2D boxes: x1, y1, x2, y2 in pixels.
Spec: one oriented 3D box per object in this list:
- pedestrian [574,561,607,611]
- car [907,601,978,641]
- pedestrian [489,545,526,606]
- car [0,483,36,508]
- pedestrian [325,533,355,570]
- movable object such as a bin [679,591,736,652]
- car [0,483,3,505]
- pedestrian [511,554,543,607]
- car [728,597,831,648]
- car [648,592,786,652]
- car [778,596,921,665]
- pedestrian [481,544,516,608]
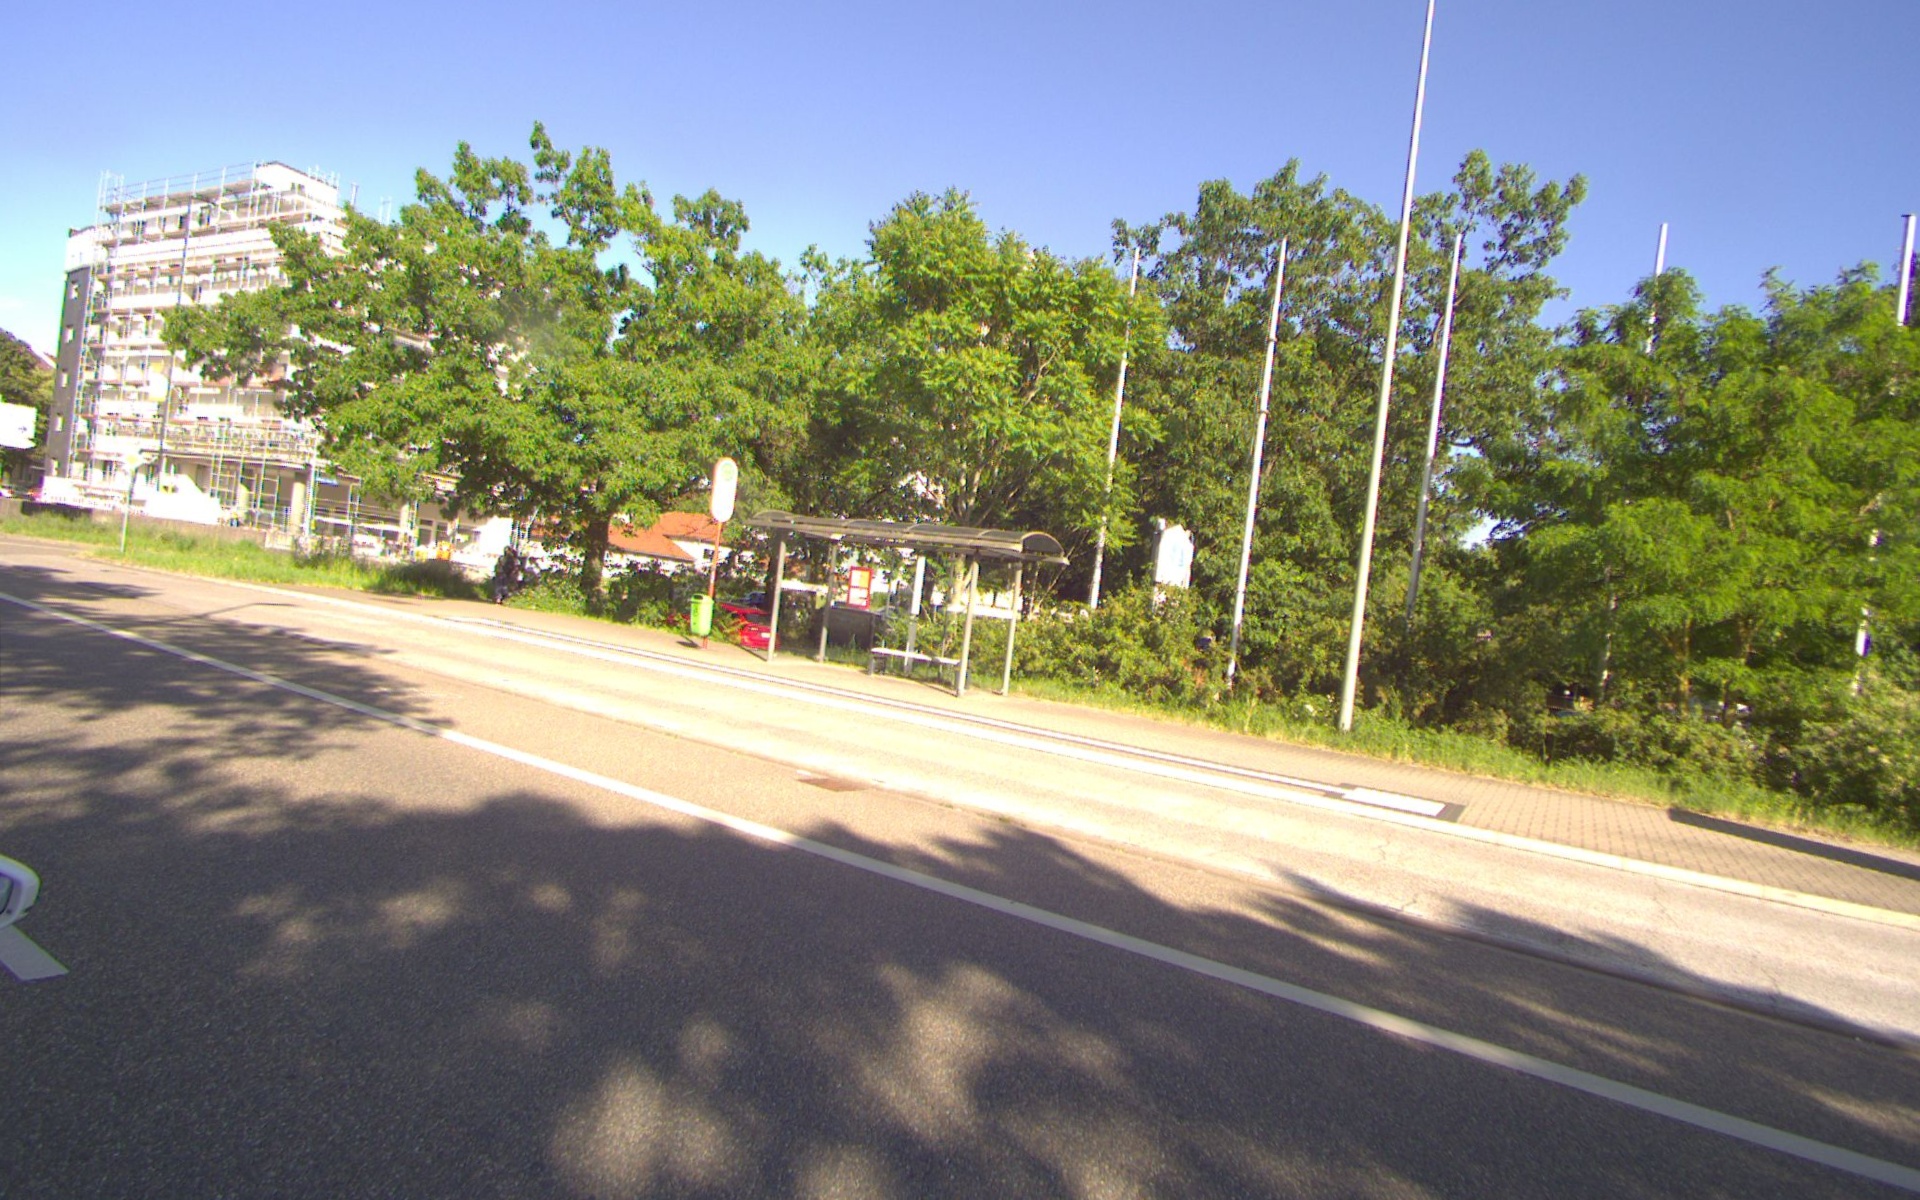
[{"bbox_3d":[-13.079,-0.491,35.628,0.557,1.638,0.705,7,-1,26],"label":"pedestrian"},{"bbox_3d":[-1.204,1.411,68.615,4.283,2.098,1.995,7,0,35],"label":"car"},{"bbox_3d":[-13.120,-0.710,29.188,0.542,1.655,0.622,7,1,32],"label":"pedestrian"},{"bbox_3d":[-66.872,-7.396,70.558,1.802,1.526,3.975,7,0,-24],"label":"car"},{"bbox_3d":[-28.382,-2.215,46.061,0.892,1.516,0.651,7,0,24],"label":"pedestrian"},{"bbox_3d":[-4.688,0.406,18.683,0.568,1.042,0.727,7,0,31],"label":"movable object such as a bin"},{"bbox_3d":[-64.877,-7.165,66.076,1.759,1.460,3.595,8,0,-25],"label":"car"},{"bbox_3d":[-13.499,-0.608,31.346,0.604,1.537,0.528,7,0,35],"label":"pedestrian"},{"bbox_3d":[-7.701,0.933,42.747,3.938,1.626,1.995,6,-2,35],"label":"car"},{"bbox_3d":[-6.955,0.617,28.707,3.846,1.168,1.399,7,0,31],"label":"car"},{"bbox_3d":[-3.982,1.079,35.985,4.811,1.556,1.996,10,0,35],"label":"car"},{"bbox_3d":[-13.047,-0.666,28.454,0.403,1.721,0.603,7,1,31],"label":"pedestrian"}]
